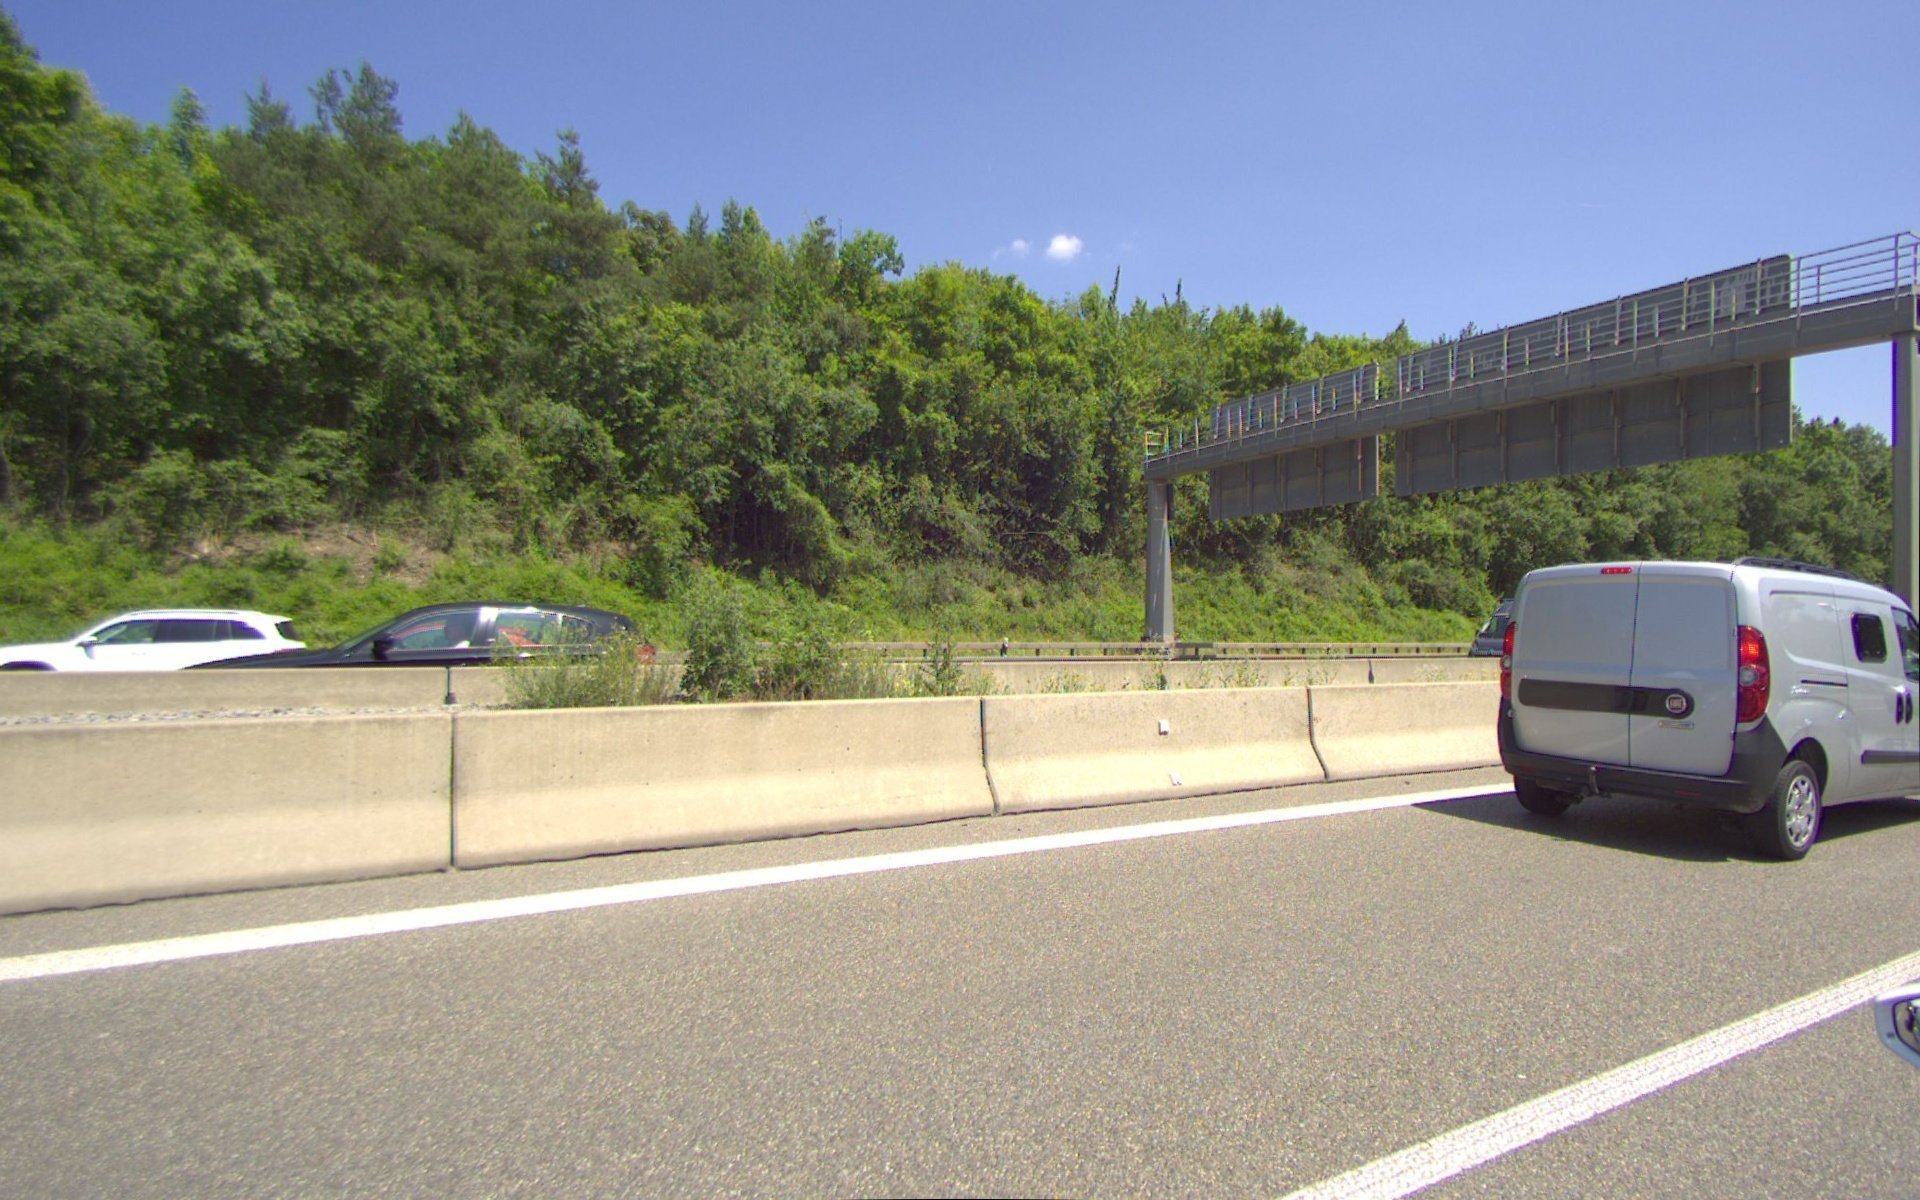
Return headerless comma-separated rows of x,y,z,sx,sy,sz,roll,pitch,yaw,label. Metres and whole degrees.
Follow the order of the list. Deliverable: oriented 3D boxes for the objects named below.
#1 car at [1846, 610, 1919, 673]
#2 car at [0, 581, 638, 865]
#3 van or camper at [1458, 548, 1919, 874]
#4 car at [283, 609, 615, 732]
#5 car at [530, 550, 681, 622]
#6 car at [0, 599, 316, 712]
32.775,1.404,34.694,4.220,2.040,1.985,1,-1,-29,car
-5.776,0.968,9.078,5.097,2.040,1.983,3,-1,-31,car
6.123,0.688,7.819,4.507,1.905,1.844,1,0,-30,van or camper
-8.099,1.098,16.180,4.463,1.714,1.983,3,-1,-31,car
-11.525,-0.419,32.698,4.312,2.040,2.114,3,-1,-29,car
-13.796,0.943,17.240,4.463,1.714,1.983,3,-1,-31,car
